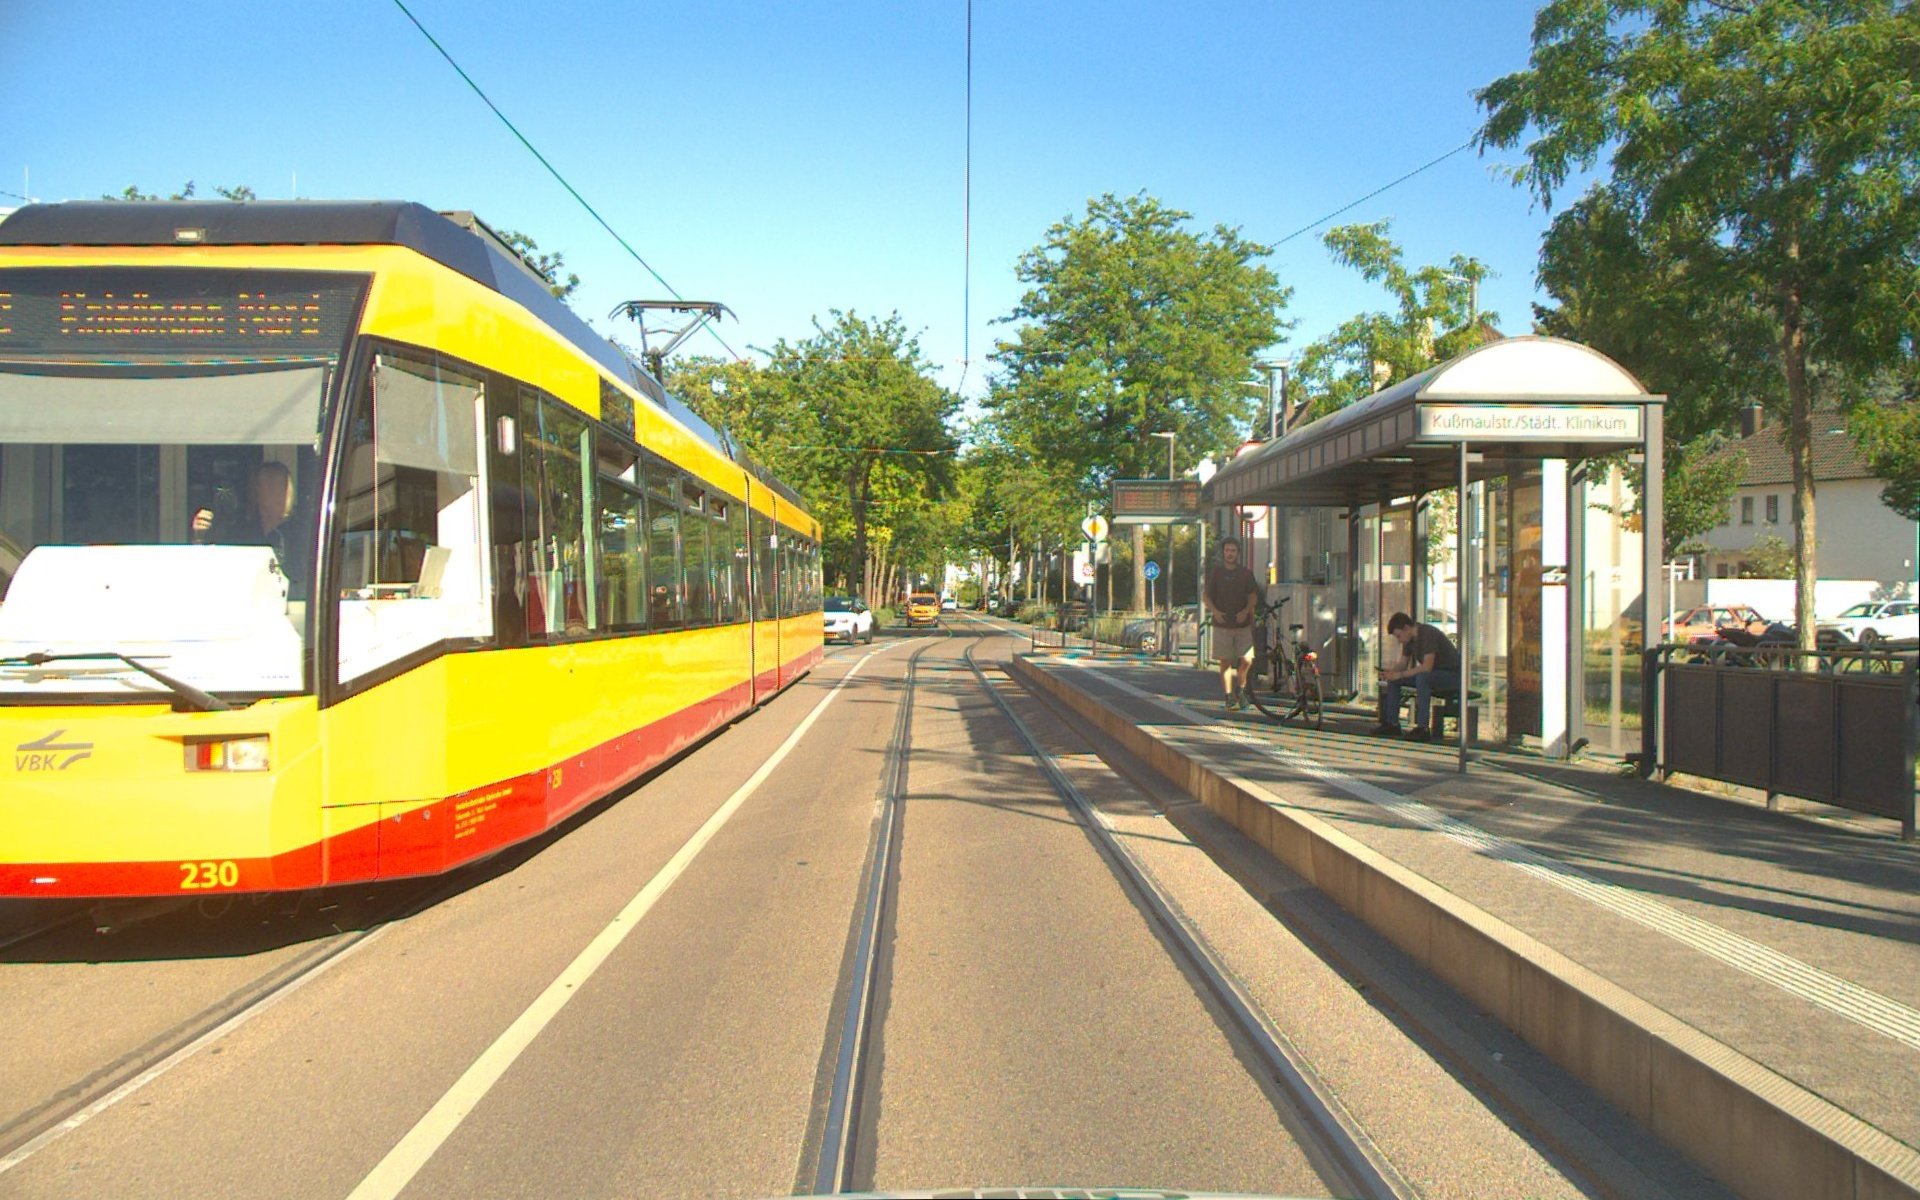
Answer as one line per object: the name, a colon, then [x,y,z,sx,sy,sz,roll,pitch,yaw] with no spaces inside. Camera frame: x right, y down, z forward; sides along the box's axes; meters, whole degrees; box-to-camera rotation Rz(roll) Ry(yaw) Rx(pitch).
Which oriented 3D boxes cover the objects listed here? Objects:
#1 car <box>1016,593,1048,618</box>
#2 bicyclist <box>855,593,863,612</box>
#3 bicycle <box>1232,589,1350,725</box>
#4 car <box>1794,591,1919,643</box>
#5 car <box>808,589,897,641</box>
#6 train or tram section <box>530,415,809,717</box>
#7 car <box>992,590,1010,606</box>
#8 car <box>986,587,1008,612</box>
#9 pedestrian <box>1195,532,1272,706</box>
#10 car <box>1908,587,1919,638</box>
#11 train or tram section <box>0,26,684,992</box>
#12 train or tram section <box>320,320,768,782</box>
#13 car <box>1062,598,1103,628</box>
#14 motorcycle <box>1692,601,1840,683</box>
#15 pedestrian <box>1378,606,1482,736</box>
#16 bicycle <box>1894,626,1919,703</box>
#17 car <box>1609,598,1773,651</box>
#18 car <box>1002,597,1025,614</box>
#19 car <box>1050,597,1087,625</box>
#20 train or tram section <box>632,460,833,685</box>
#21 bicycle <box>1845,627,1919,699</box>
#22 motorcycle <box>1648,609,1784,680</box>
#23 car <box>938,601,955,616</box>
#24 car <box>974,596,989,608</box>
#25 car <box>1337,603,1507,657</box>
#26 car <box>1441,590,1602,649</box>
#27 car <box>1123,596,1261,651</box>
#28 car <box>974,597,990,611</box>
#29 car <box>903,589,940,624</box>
car: [5.470,0.412,126.124,1.954,1.734,4.475,-3,0,-2]
bicyclist: [-8.222,0.200,134.564,0.581,1.554,1.061,0,0,-1]
bicycle: [3.239,0.528,16.368,0.607,1.251,1.965,1,0,-5]
car: [28.089,0.521,50.965,4.099,1.534,1.971,1,0,-19]
car: [-3.593,0.499,56.042,1.727,1.693,4.213,0,0,15]
train or tram section: [-3.716,-0.414,22.762,2.747,3.520,6.666,1,0,-1]
car: [4.012,-0.205,162.109,1.594,1.422,3.644,-3,0,-2]
car: [4.108,-0.074,183.469,2.200,2.700,5.583,0,0,-2]
pedestrian: [3.034,0.206,18.376,0.696,1.886,0.729,2,0,0]
car: [32.562,0.472,52.972,3.940,1.601,1.983,2,1,-28]
train or tram section: [-3.450,-0.349,9.370,2.747,3.520,6.666,1,0,-1]
train or tram section: [-3.583,-0.385,16.065,2.747,3.520,6.666,1,0,-1]
car: [6.448,0.643,87.543,1.713,1.521,4.442,-1,0,-1]
motorcycle: [13.030,0.669,26.765,2.038,1.296,0.860,0,0,-8]
pedestrian: [4.268,0.631,15.061,0.723,1.137,0.658,2,0,-2]
bicycle: [13.362,0.842,21.870,1.862,0.996,0.490,0,0,-8]
car: [21.971,0.721,49.782,4.080,1.534,1.981,1,0,-4]
car: [4.933,0.507,152.586,1.748,1.473,4.298,-3,0,-3]
car: [6.099,0.612,93.407,1.713,1.521,3.995,-1,0,-1]
train or tram section: [-3.840,-0.440,29.456,2.747,3.520,6.666,1,0,-1]
bicycle: [13.264,0.879,23.292,1.442,0.996,0.415,0,0,-8]
motorcycle: [12.935,0.749,28.325,1.961,1.178,0.860,0,0,-8]
car: [-1.650,1.041,201.877,1.829,1.704,4.169,0,0,-4]
car: [3.018,0.287,233.265,1.961,1.704,4.394,-2,0,2]
car: [13.043,0.866,46.947,4.505,1.492,1.983,0,-2,12]
car: [16.637,0.567,49.129,4.079,1.670,1.981,1,0,-3]
car: [6.795,0.661,48.517,3.902,1.534,1.984,1,0,8]
car: [2.872,0.496,215.738,1.962,1.704,4.391,-2,0,-2]
car: [-2.279,0.392,97.618,1.954,2.000,4.930,0,0,-4]
